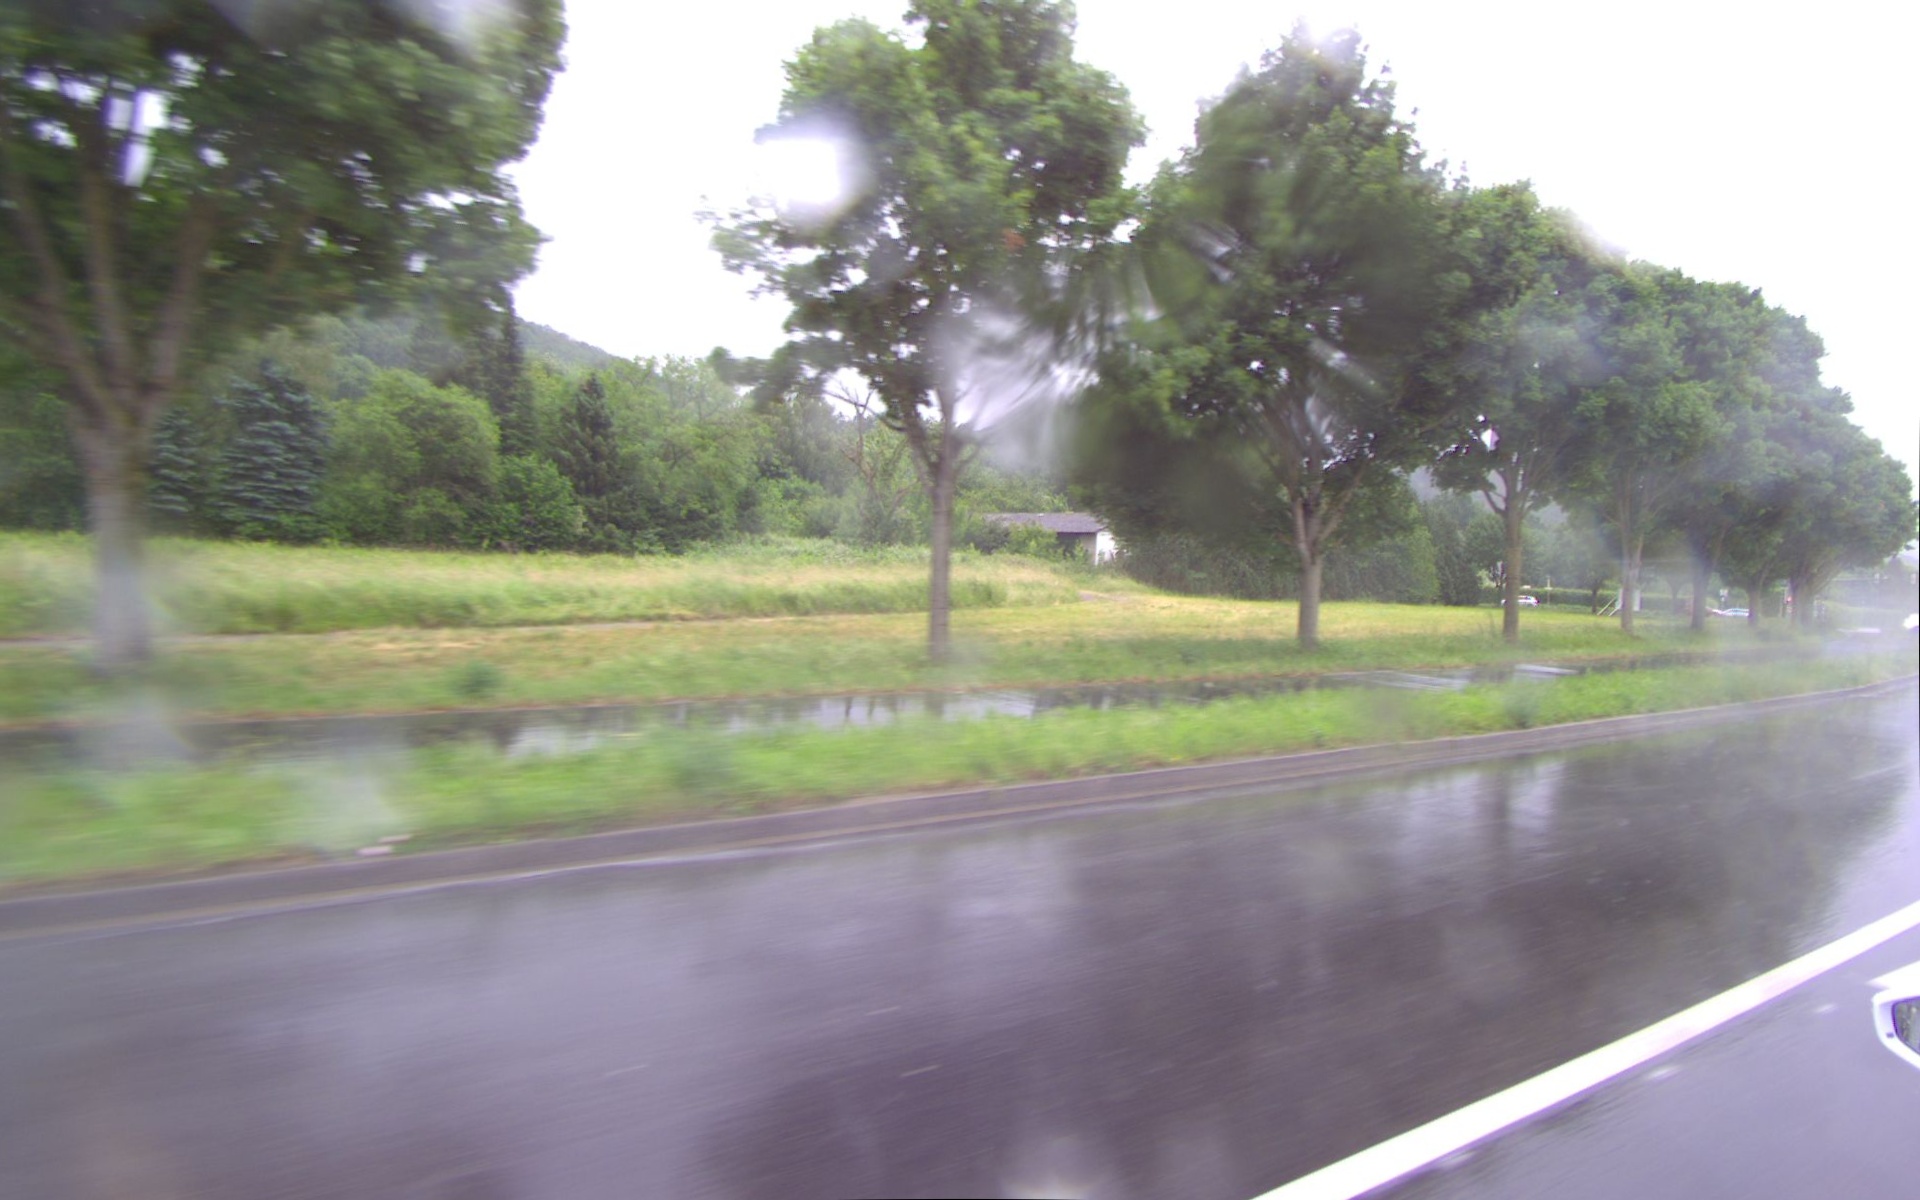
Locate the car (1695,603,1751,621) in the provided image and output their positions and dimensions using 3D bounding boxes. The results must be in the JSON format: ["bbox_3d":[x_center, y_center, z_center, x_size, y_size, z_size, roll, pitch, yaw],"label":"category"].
[{"bbox_3d":[78.653,1.218,103.556,1.720,1.601,4.332,1,3,-43],"label":"car"}]

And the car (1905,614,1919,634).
[{"bbox_3d":[78.619,1.979,82.121,1.858,1.594,4.619,2,0,42],"label":"car"}]
